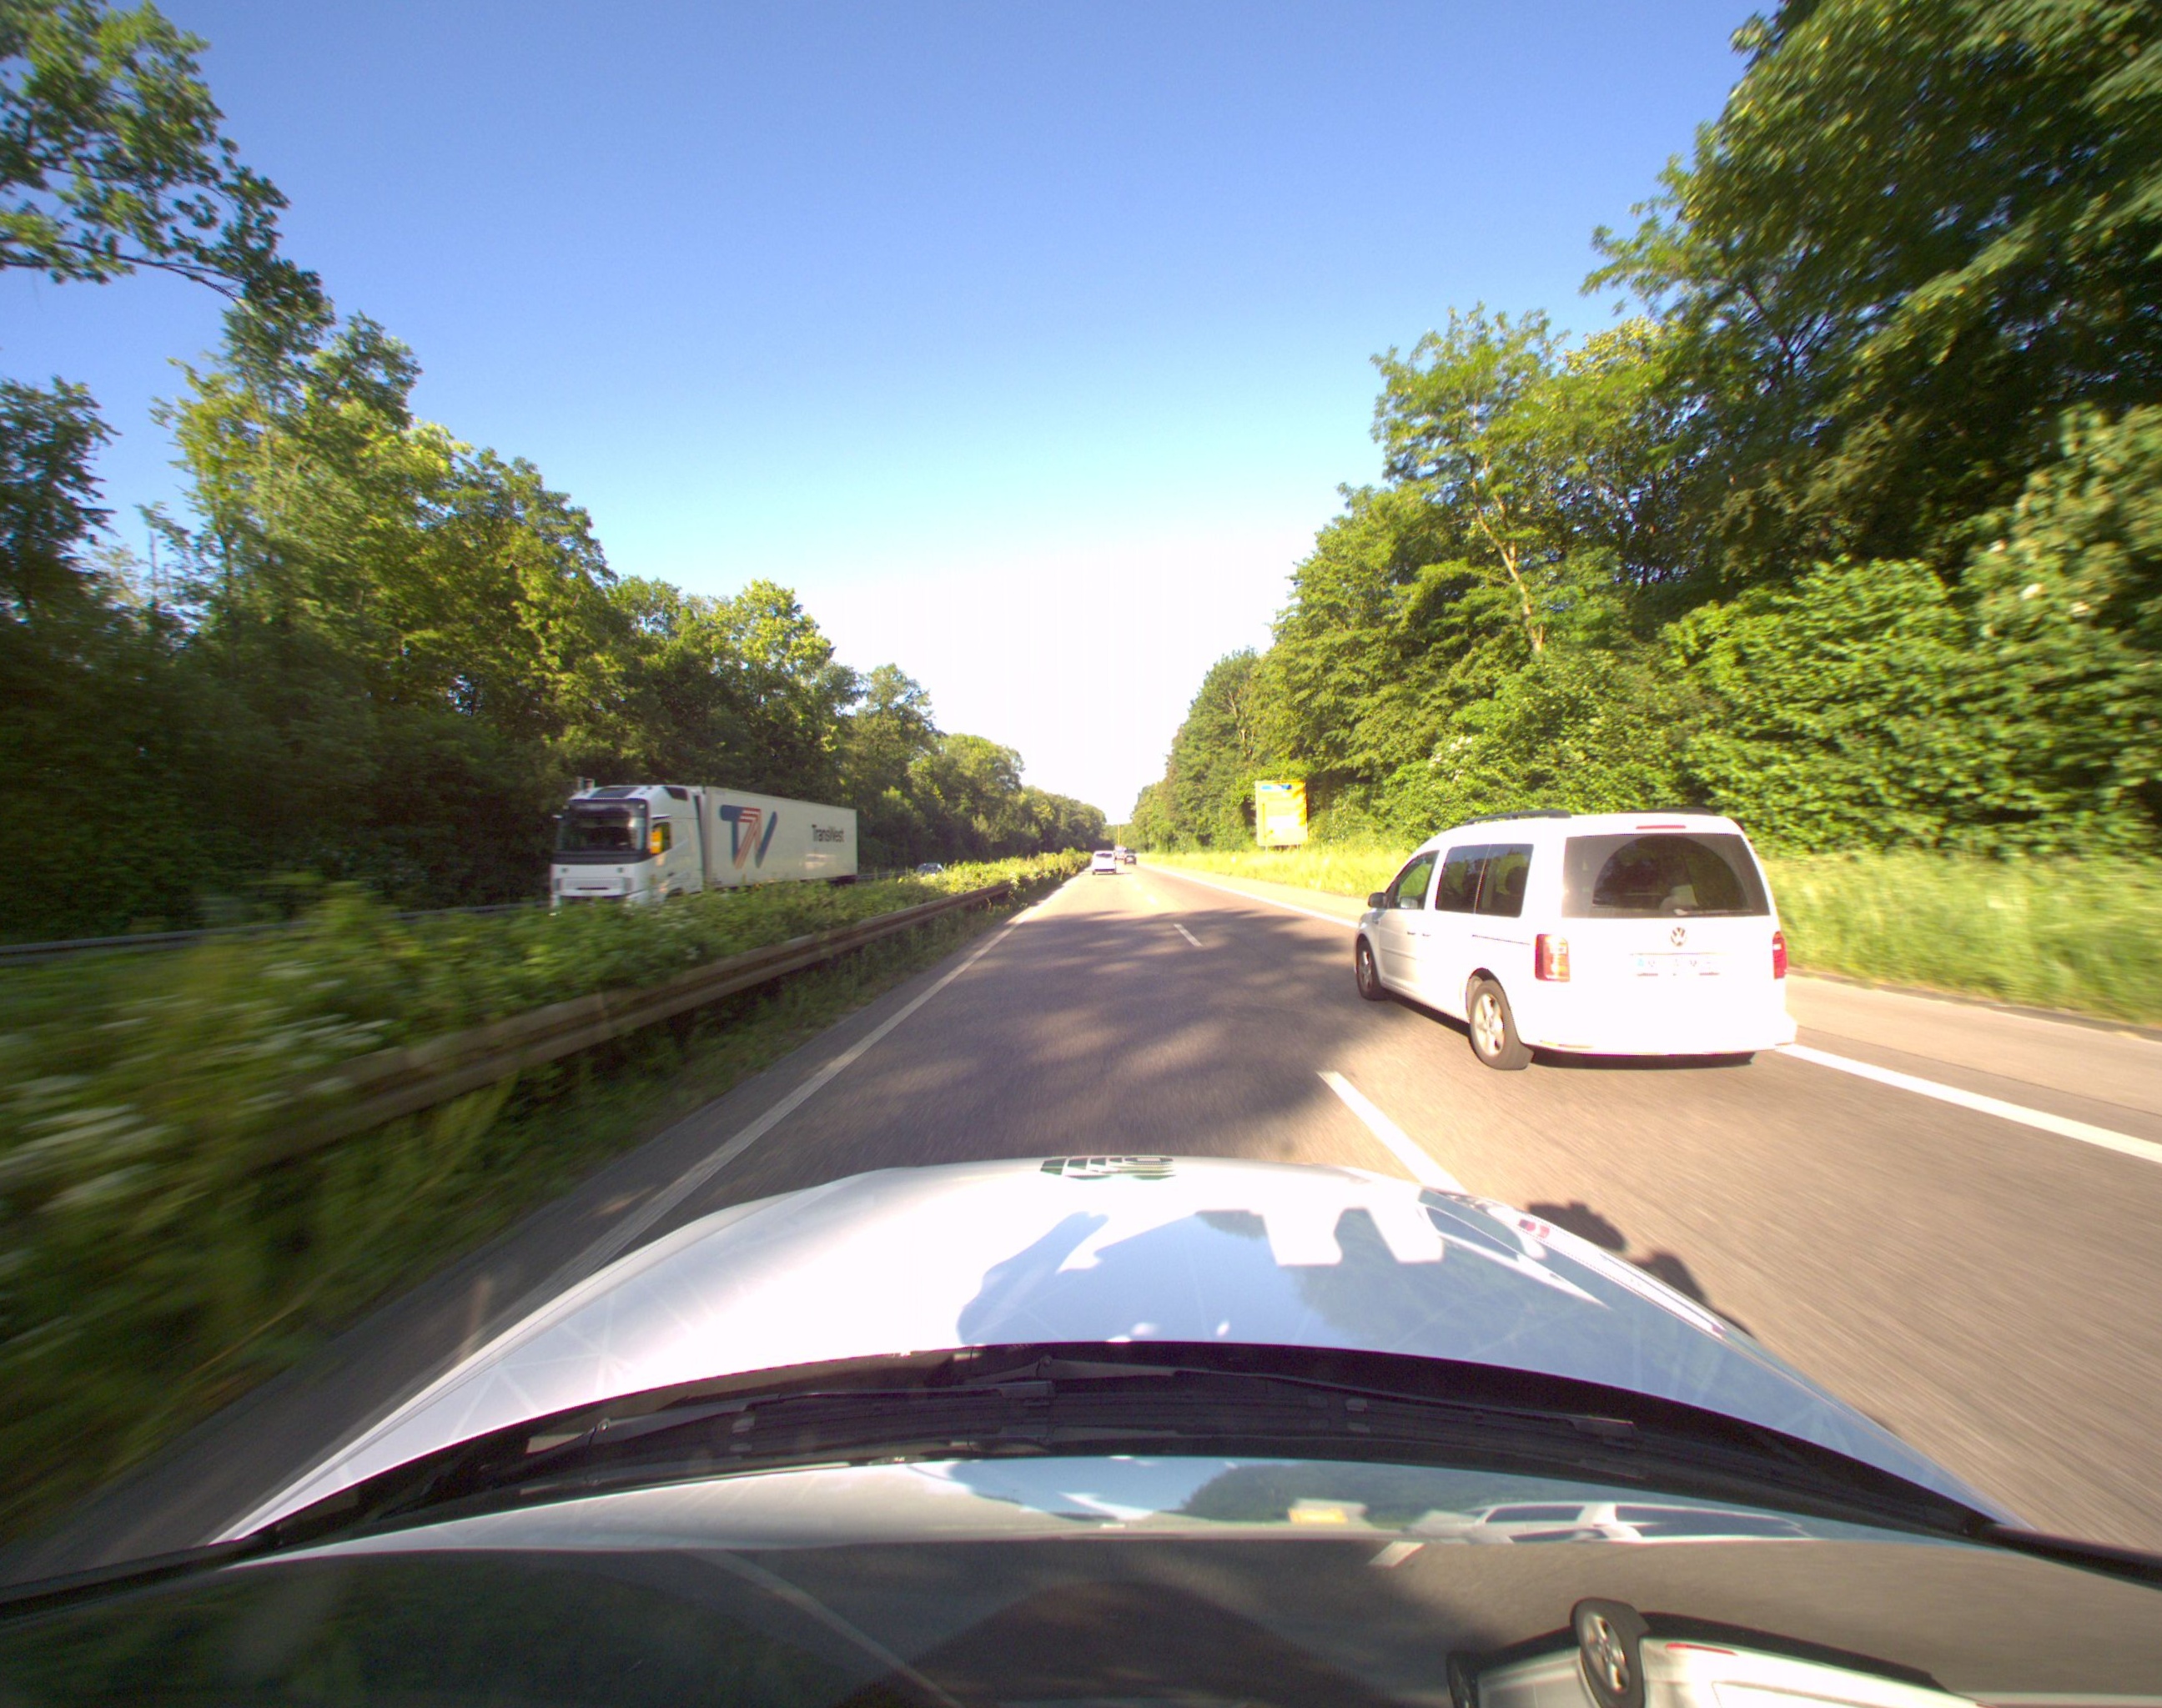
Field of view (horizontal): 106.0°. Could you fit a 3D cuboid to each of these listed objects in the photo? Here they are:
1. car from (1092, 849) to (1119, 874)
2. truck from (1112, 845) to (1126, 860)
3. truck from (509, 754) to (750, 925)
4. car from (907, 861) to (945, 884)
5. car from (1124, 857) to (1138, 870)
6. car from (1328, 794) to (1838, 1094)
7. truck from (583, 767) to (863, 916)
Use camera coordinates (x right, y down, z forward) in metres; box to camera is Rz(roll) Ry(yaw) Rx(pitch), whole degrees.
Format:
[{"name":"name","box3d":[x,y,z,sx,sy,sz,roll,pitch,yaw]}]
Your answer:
[{"name":"car","box3d":[1.892,0.577,62.950,1.944,1.782,4.589,-1,-1,1]},{"name":"truck","box3d":[10.863,-0.434,233.101,3.720,4.343,9.308,-1,-1,2]},{"name":"truck","box3d":[-11.869,-0.342,22.138,3.216,4.013,5.679,-1,0,2]},{"name":"car","box3d":[-10.490,1.219,55.345,1.757,1.473,3.794,-1,-1,2]},{"name":"car","box3d":[7.464,1.405,121.126,1.944,1.782,4.589,-1,-1,1]},{"name":"car","box3d":[3.756,0.568,7.266,1.792,1.813,4.589,-1,-1,1]},{"name":"truck","box3d":[-11.639,-0.347,29.287,3.231,4.013,14.456,-1,0,2]}]
